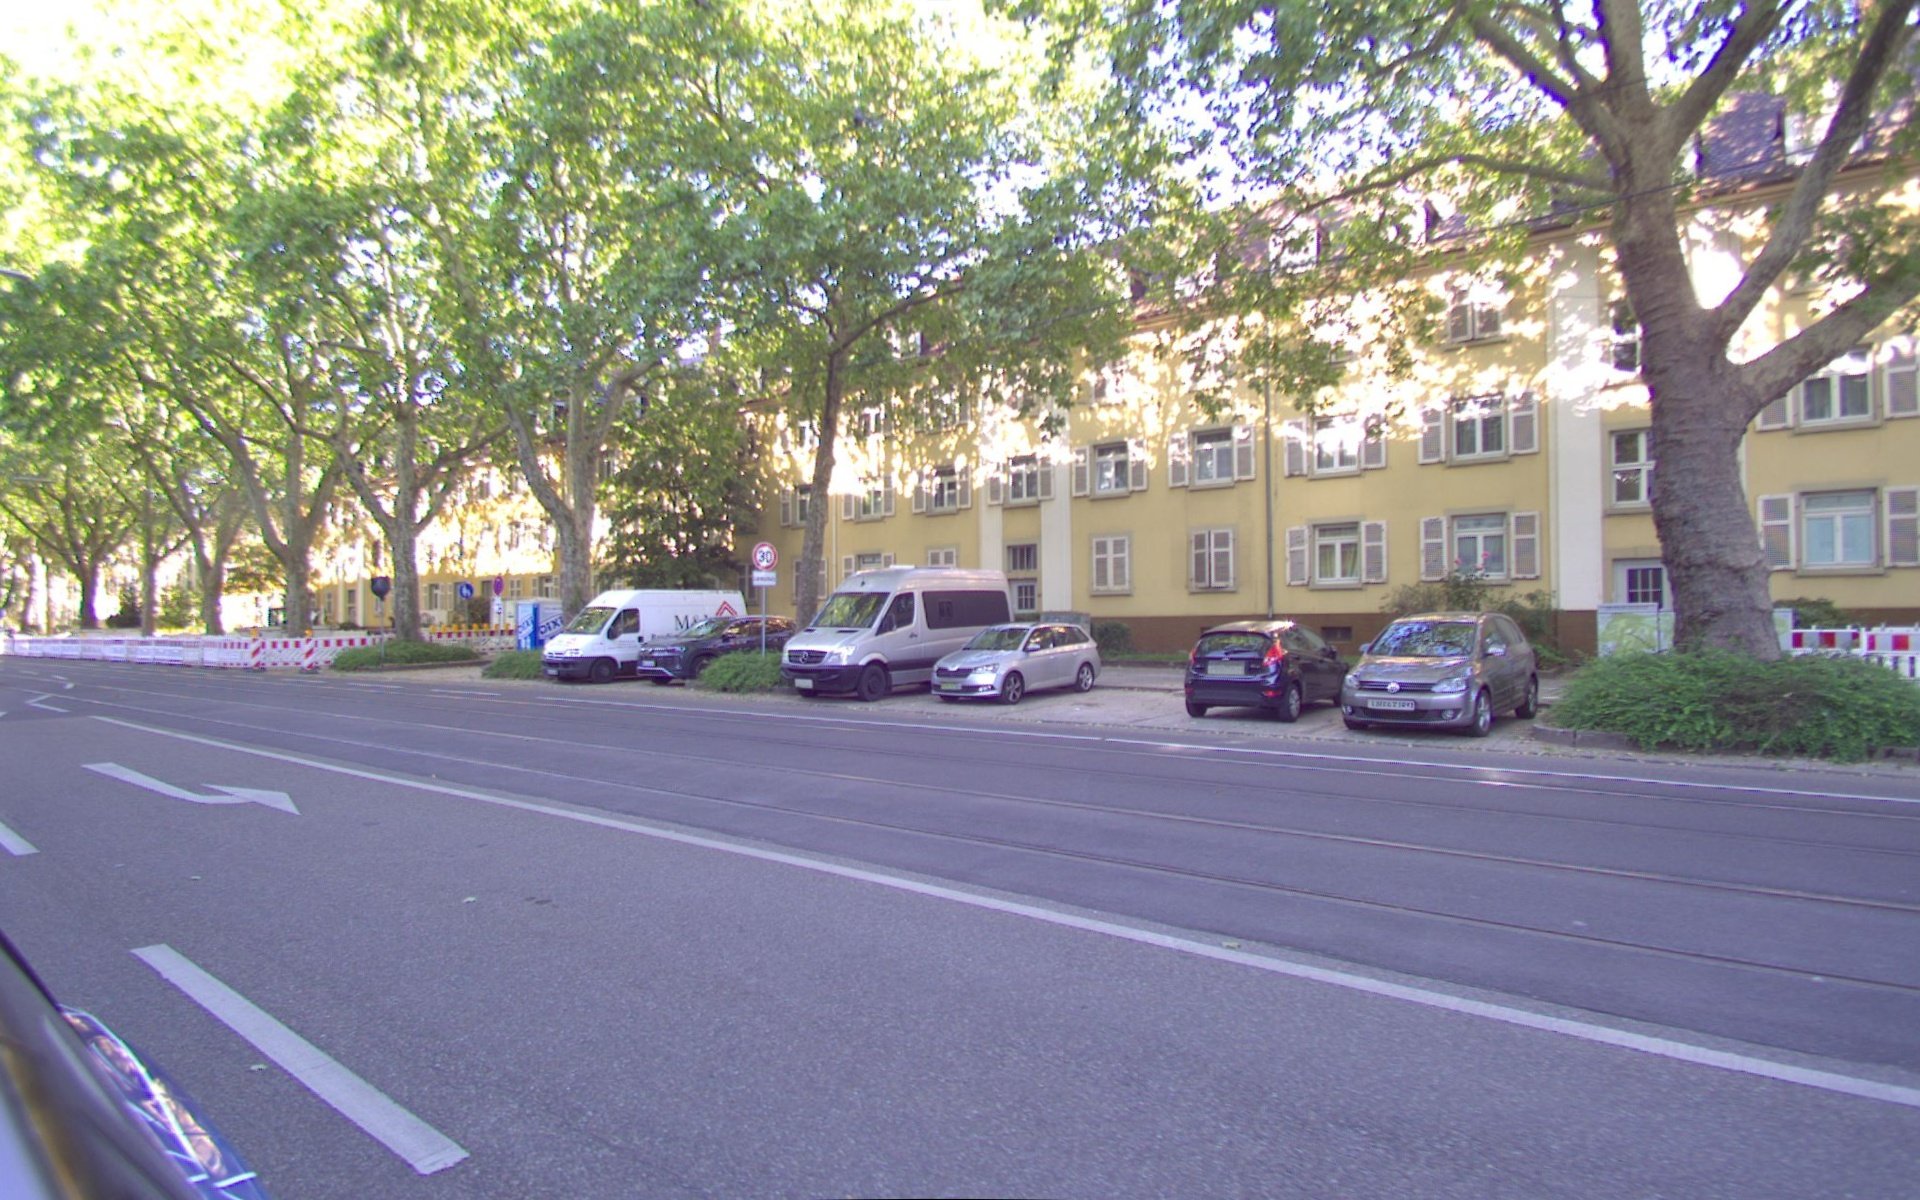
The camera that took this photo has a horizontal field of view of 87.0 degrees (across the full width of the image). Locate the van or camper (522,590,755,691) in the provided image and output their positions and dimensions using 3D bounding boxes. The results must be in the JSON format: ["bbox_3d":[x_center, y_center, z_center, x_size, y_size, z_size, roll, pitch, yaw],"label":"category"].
[{"bbox_3d":[-8.415,0.955,27.039,2.154,2.403,5.691,-1,0,40],"label":"van or camper"}]

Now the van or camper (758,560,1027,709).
[{"bbox_3d":[-1.205,0.599,21.094,2.154,2.668,5.857,-1,0,40],"label":"van or camper"}]

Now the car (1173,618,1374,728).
[{"bbox_3d":[5.099,1.062,16.165,1.693,1.457,3.812,-1,0,41],"label":"car"}]

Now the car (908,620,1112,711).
[{"bbox_3d":[1.071,1.174,19.546,1.693,1.457,4.221,-1,0,41],"label":"car"}]

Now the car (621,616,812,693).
[{"bbox_3d":[-5.927,1.257,25.069,1.693,1.645,4.482,-1,0,41],"label":"car"}]

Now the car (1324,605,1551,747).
[{"bbox_3d":[6.763,0.912,14.113,1.843,1.631,4.028,-1,0,41],"label":"car"}]
